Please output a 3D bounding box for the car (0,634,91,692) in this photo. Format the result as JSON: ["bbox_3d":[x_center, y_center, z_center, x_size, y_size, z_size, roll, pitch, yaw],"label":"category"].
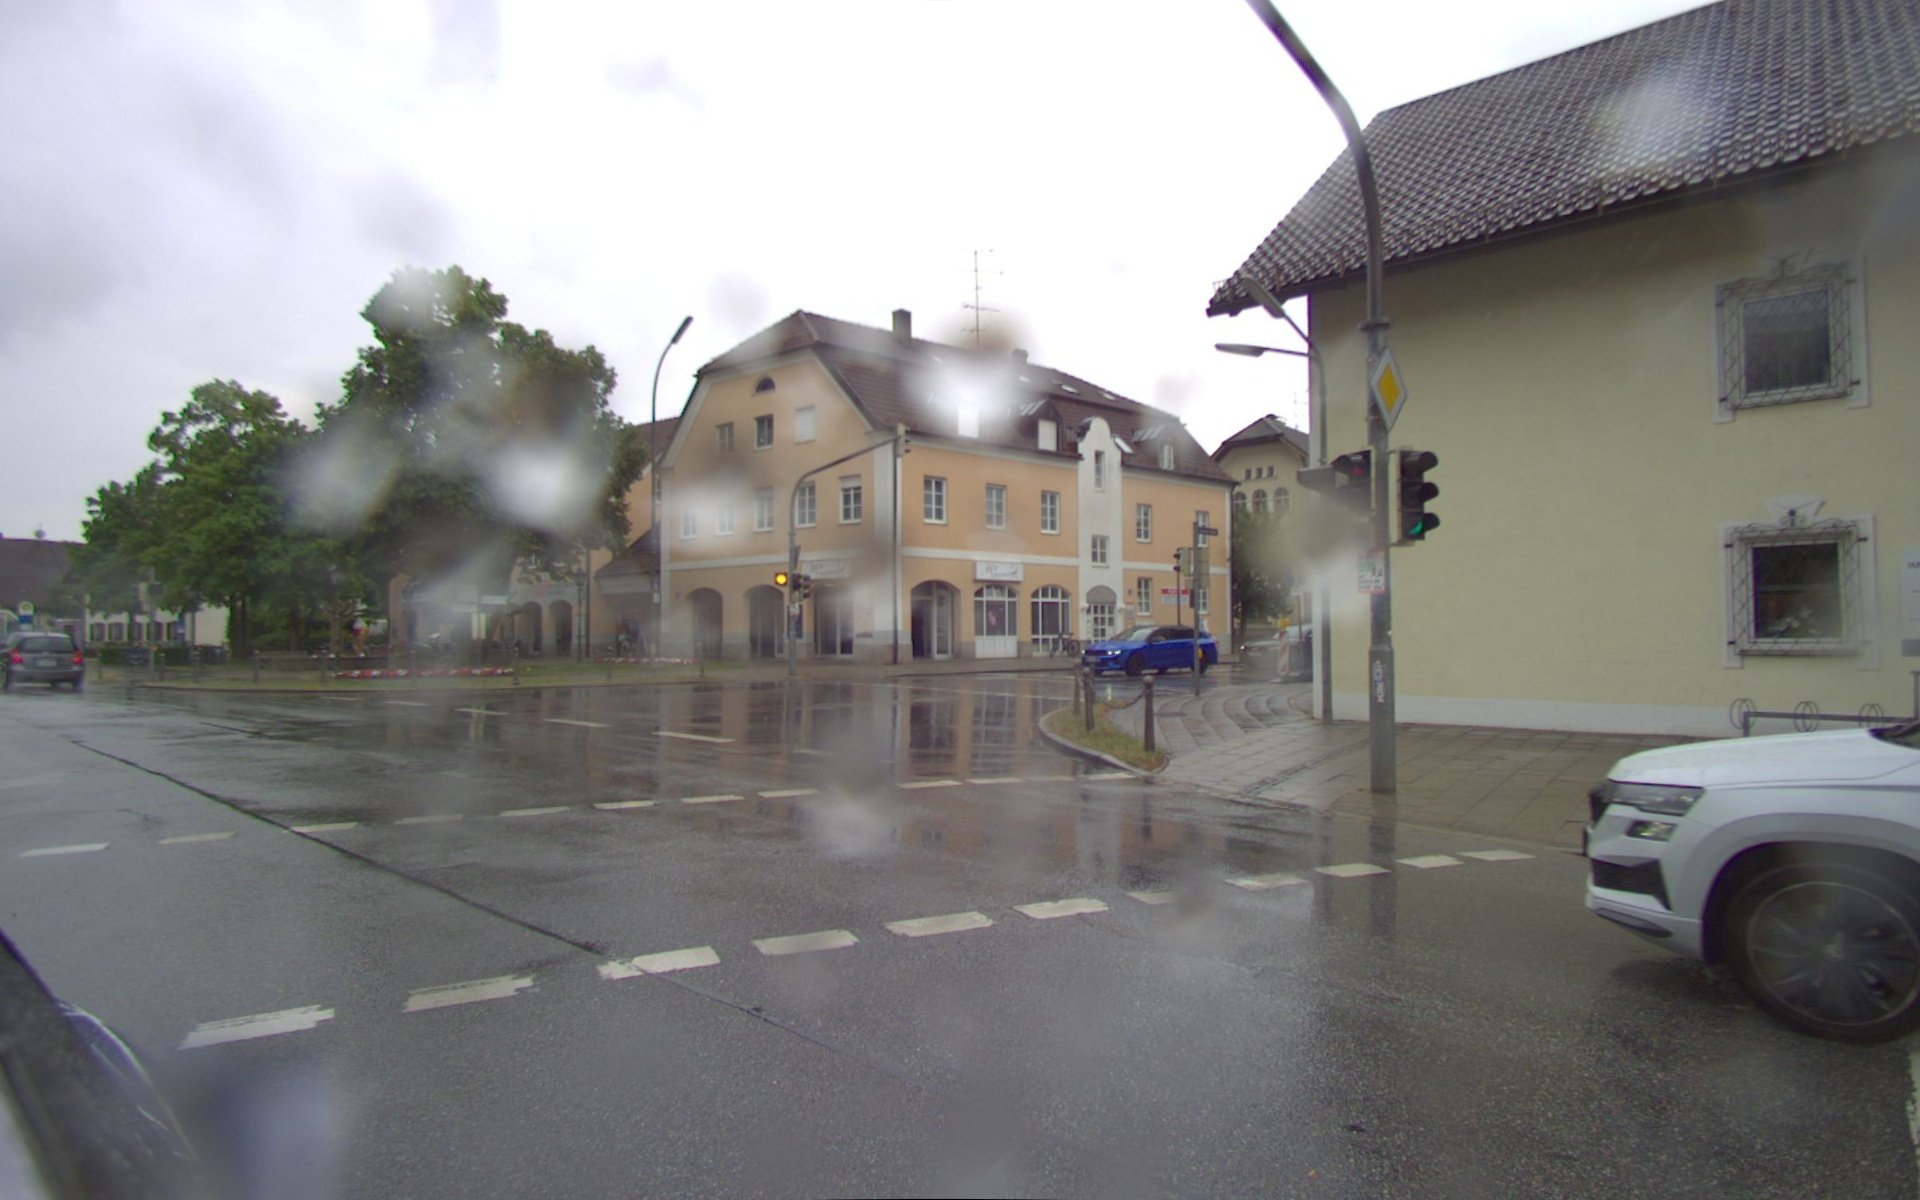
[{"bbox_3d":[-26.733,1.757,29.082,3.893,1.545,1.897,-2,-3,38],"label":"car"}]

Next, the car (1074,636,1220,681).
[{"bbox_3d":[5.528,1.664,29.721,4.288,1.194,1.693,1,-2,-35],"label":"car"}]

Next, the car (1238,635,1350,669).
[{"bbox_3d":[11.132,1.706,33.633,4.006,1.025,1.427,1,-2,-35],"label":"car"}]

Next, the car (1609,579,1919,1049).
[{"bbox_3d":[4.766,0.727,3.368,4.149,1.575,1.946,-1,-3,41],"label":"car"}]
